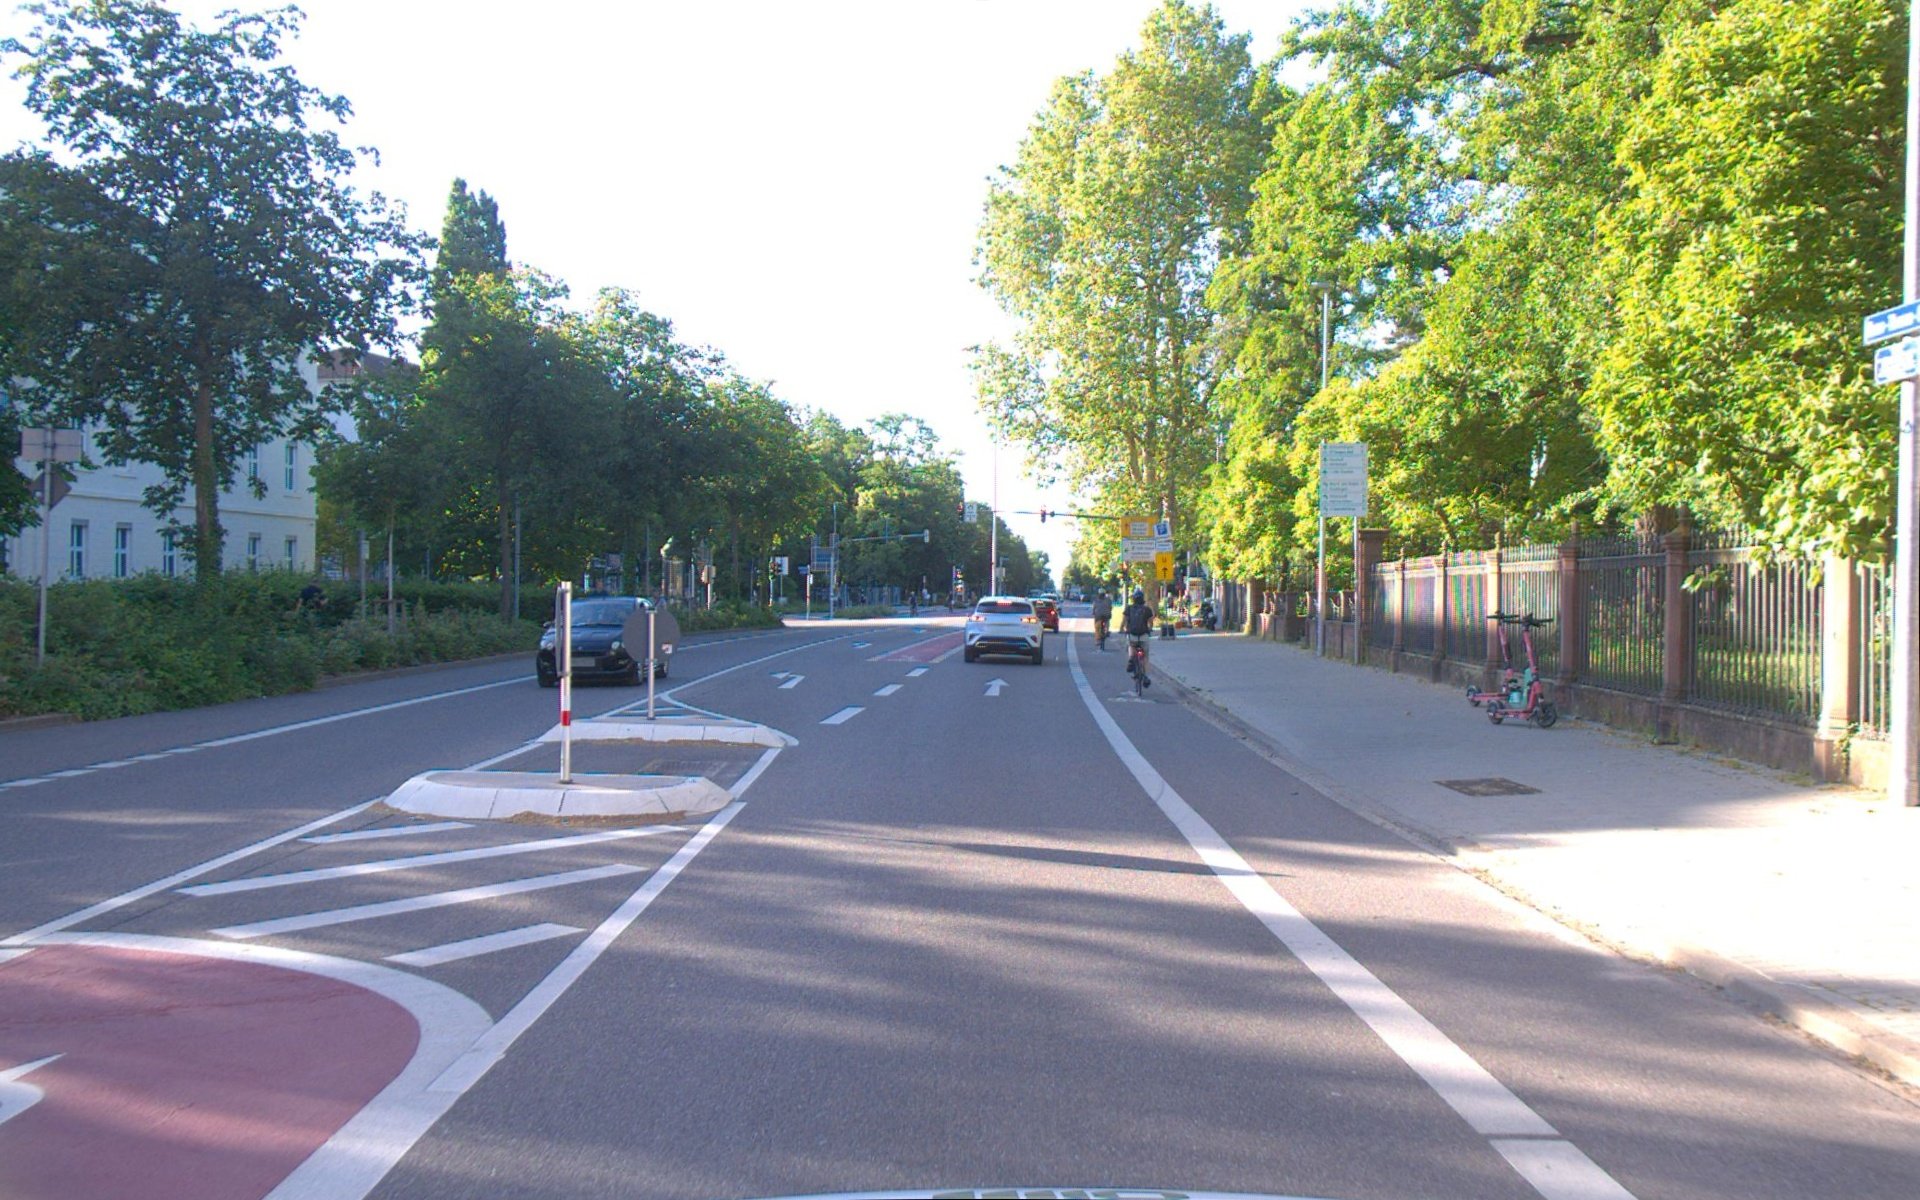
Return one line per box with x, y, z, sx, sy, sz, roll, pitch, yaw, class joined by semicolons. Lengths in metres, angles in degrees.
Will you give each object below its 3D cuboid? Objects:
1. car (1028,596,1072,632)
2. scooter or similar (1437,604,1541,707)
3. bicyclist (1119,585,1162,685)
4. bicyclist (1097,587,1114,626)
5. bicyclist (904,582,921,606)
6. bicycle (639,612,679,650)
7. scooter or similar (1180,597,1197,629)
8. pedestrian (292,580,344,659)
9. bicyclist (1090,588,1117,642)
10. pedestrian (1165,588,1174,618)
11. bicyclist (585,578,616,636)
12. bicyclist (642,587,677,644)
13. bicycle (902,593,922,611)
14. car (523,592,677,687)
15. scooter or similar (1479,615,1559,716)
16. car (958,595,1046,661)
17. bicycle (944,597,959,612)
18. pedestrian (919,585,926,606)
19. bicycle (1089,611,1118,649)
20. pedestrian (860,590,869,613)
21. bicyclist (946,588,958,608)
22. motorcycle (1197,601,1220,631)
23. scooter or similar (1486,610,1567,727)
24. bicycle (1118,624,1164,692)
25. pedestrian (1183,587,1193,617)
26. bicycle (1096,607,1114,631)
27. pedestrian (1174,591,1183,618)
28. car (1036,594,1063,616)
4.002;0.593;73.538;1.888;1.560;4.002;-1;0;3;car
6.861;0.696;21.507;0.538;1.264;1.552;-1;0;-14;scooter or similar
3.047;0.578;28.025;0.622;1.642;1.284;1;0;3;bicyclist
6.604;0.290;75.212;0.734;1.780;0.843;1;0;3;bicyclist
-3.488;-0.434;120.856;1.069;1.785;1.098;-1;0;5;bicyclist
-7.843;0.789;43.182;0.603;0.937;2.180;-1;0;1;bicycle
10.235;0.572;74.246;0.554;1.407;1.857;-1;0;2;scooter or similar
-15.612;0.475;40.251;0.838;1.884;1.001;-1;0;1;pedestrian
4.156;0.428;47.938;0.731;1.564;0.970;1;0;3;bicyclist
13.096;0.215;103.378;0.472;1.823;0.432;-3;3;10;pedestrian
-9.808;0.189;45.117;0.616;1.549;0.724;-3;0;1;bicyclist
-7.846;0.402;43.206;0.633;1.443;0.971;-3;0;1;bicyclist
-3.509;0.121;120.636;1.078;1.277;2.781;-1;0;5;bicycle
-5.979;0.606;27.932;1.722;1.484;4.000;0;0;0;car
6.612;0.756;19.608;0.471;1.142;1.336;-1;0;-1;scooter or similar
1.023;0.621;39.018;1.952;1.478;4.001;-1;0;3;car
-0.719;0.381;142.353;0.943;1.201;2.953;-1;0;5;bicycle
-3.704;-0.428;165.193;0.643;2.049;0.832;-1;0;1;pedestrian
4.153;0.859;47.915;0.737;1.044;1.870;1;-1;3;bicycle
-8.245;0.129;142.429;0.637;1.921;0.663;-1;0;6;pedestrian
-0.689;-0.187;142.290;0.935;1.735;1.233;-1;0;5;bicyclist
10.118;0.633;67.462;0.648;1.188;2.328;-2;0;3;motorcycle
6.361;0.751;18.613;0.291;1.261;1.157;-1;0;-13;scooter or similar
3.053;0.954;28.010;0.629;1.042;2.213;2;0;3;bicycle
14.369;0.142;104.242;0.472;1.823;0.432;-3;3;10;pedestrian
6.591;0.855;75.262;0.737;1.044;1.870;1;-1;3;bicycle
13.677;0.272;103.365;0.472;1.668;0.432;-3;3;10;pedestrian
6.403;0.347;118.062;1.700;1.573;4.003;0;1;7;car
